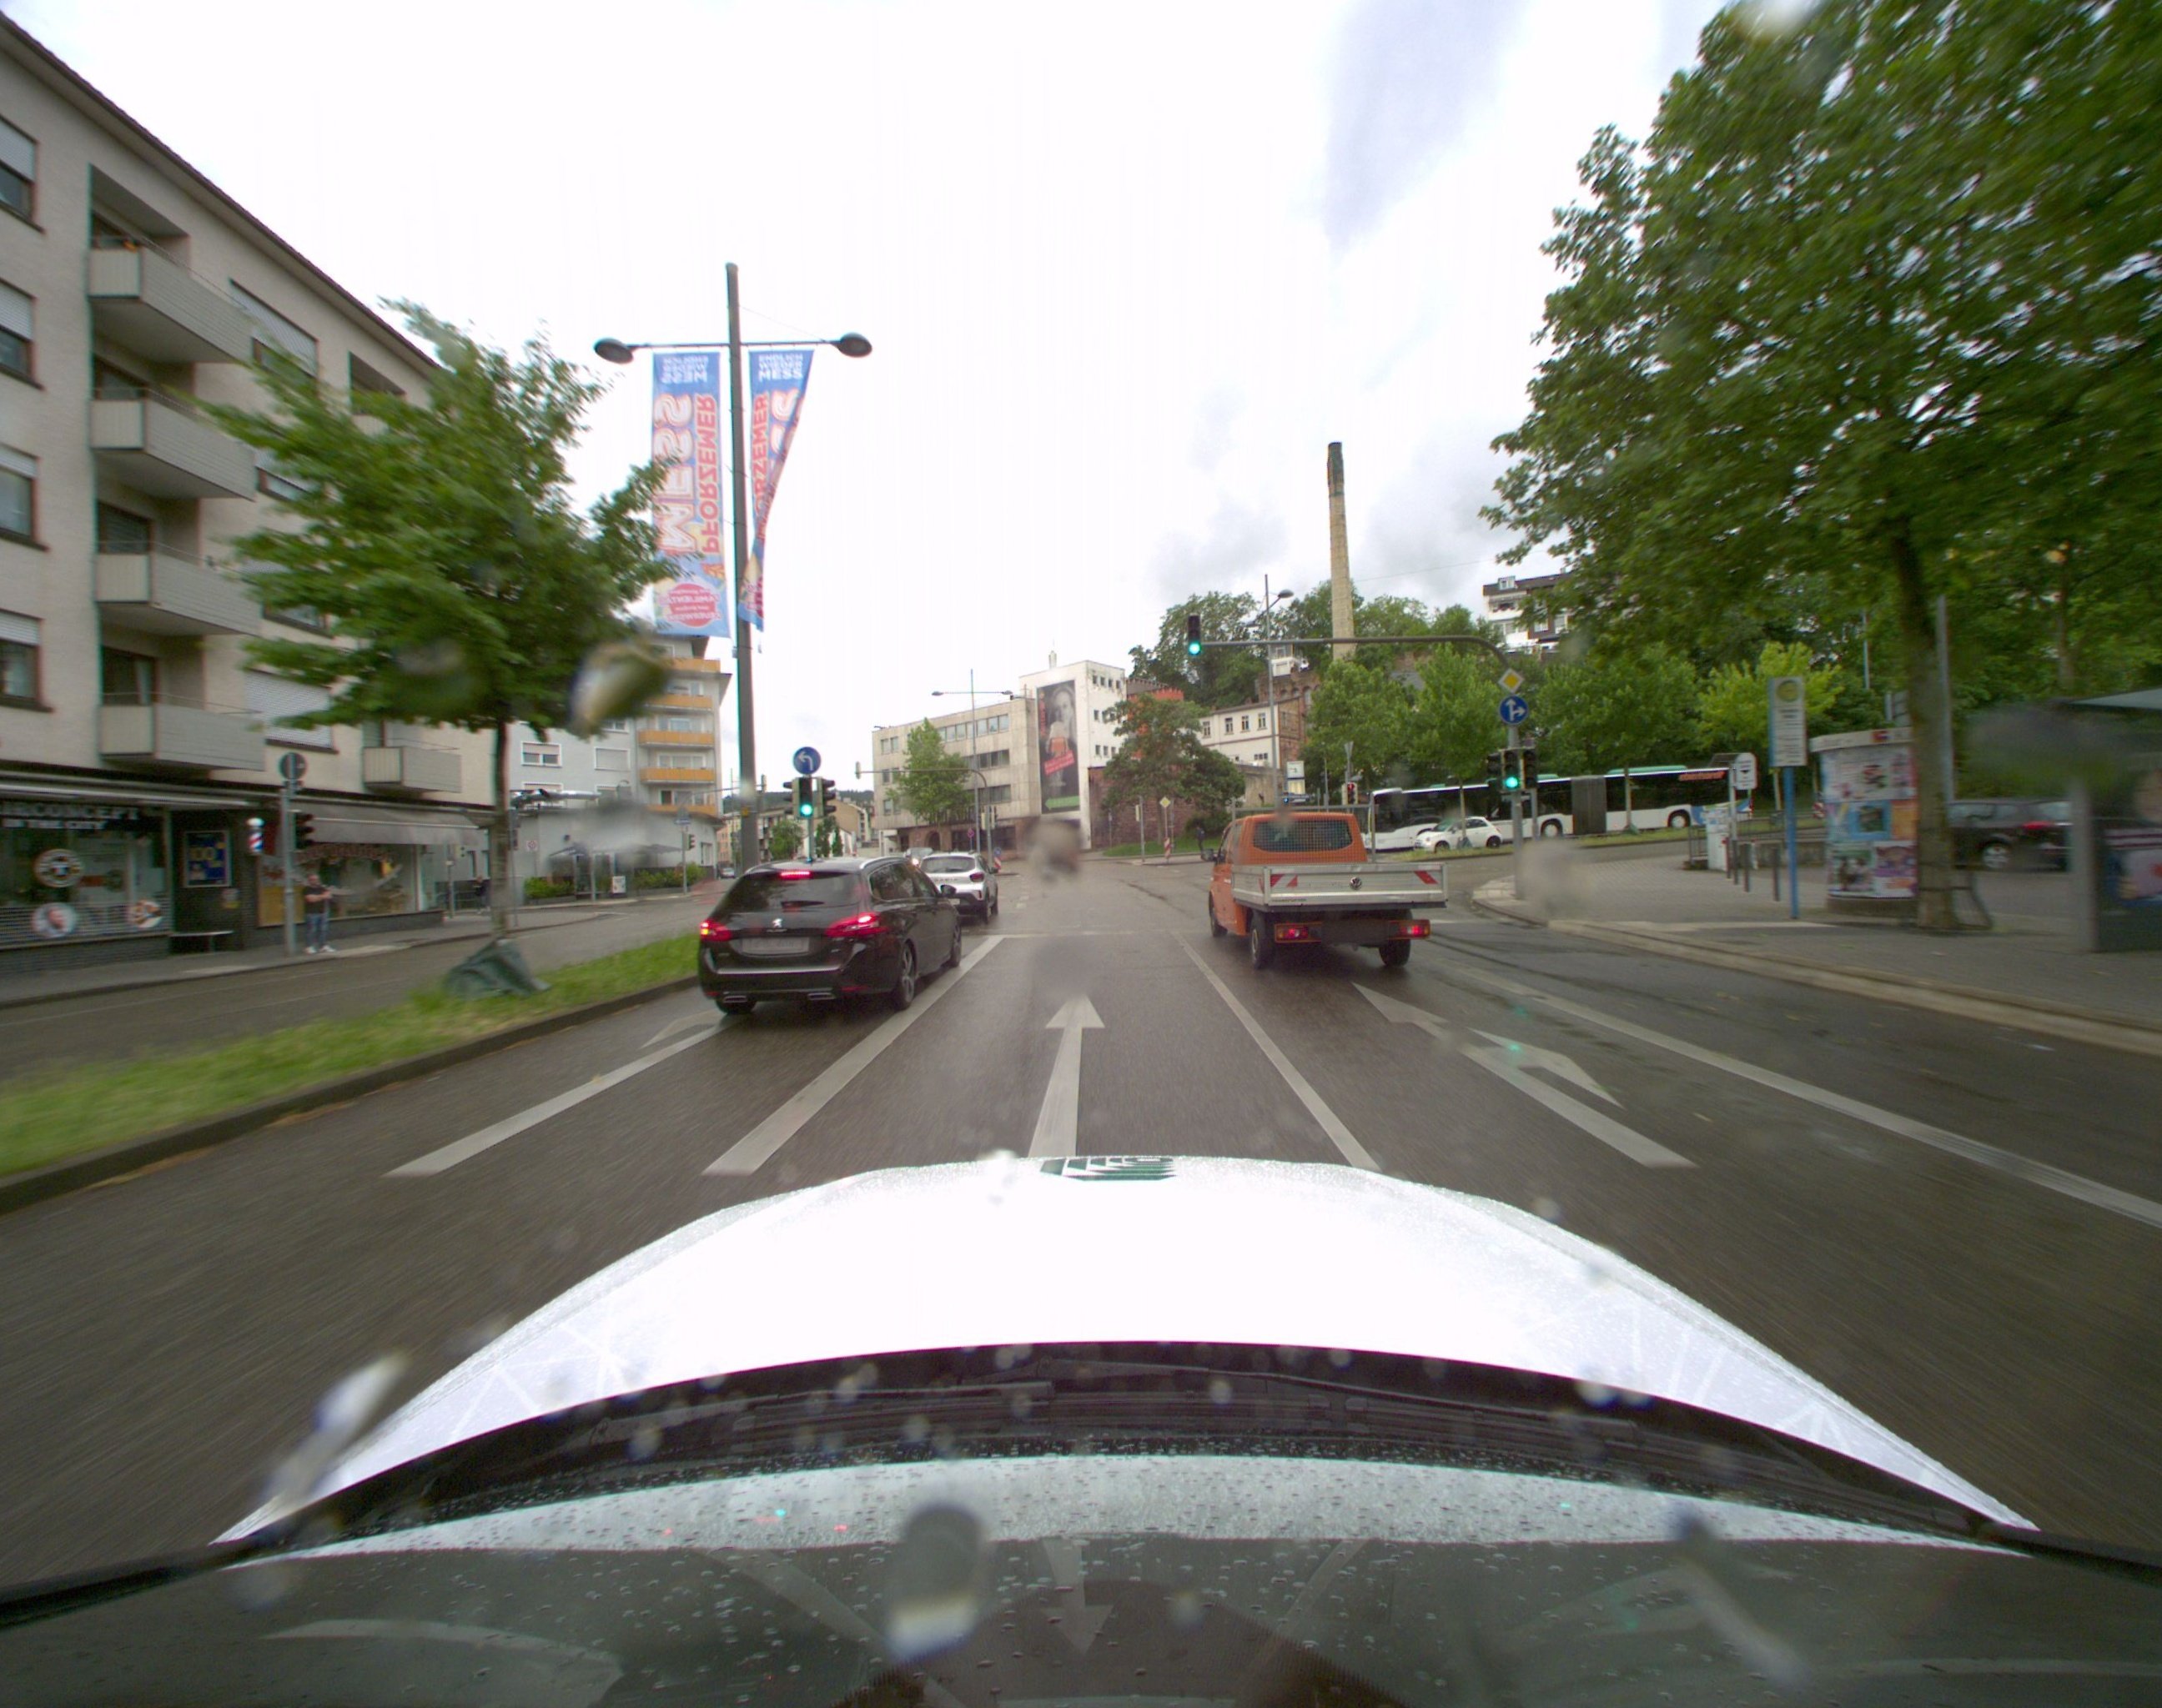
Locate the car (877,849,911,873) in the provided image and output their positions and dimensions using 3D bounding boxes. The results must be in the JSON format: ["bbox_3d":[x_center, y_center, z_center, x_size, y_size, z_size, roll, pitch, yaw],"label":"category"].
[{"bbox_3d":[-14.031,0.489,60.949,1.762,1.614,4.181,-4,1,-22],"label":"car"}]

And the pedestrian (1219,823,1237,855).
[{"bbox_3d":[8.572,-0.878,47.517,0.876,1.831,0.729,-2,0,2],"label":"pedestrian"}]

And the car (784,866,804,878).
[{"bbox_3d":[-39.824,2.477,112.891,1.676,1.396,3.827,-3,1,-32],"label":"car"}]

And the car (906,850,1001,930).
[{"bbox_3d":[-2.645,0.689,17.563,1.533,1.461,3.627,-3,1,-2],"label":"car"}]

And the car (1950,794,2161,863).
[{"bbox_3d":[23.740,-0.607,19.212,1.846,1.440,4.260,-3,1,-1],"label":"car"}]

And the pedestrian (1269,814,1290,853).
[{"bbox_3d":[10.658,-1.087,43.732,0.777,2.013,0.592,-3,2,37],"label":"pedestrian"}]

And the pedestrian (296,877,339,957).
[{"bbox_3d":[-17.078,1.401,18.222,0.450,1.730,0.524,1,1,1],"label":"pedestrian"}]

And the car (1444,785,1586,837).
[{"bbox_3d":[23.072,-2.252,43.631,6.271,2.234,2.266,-4,0,18],"label":"car"}]

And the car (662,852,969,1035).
[{"bbox_3d":[-2.460,0.738,8.824,1.793,1.434,4.397,-2,0,1],"label":"car"}]

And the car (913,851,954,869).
[{"bbox_3d":[-12.639,0.514,69.506,1.802,1.403,4.586,-3,0,-32],"label":"car"}]

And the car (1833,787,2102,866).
[{"bbox_3d":[21.142,-0.621,19.745,1.795,1.612,4.260,-3,1,-2],"label":"car"}]

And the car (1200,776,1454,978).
[{"bbox_3d":[3.008,0.255,11.416,2.093,2.089,5.545,-2,0,3],"label":"car"}]

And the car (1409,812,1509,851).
[{"bbox_3d":[16.219,-0.983,35.054,3.547,1.451,1.590,-3,2,-1],"label":"car"}]

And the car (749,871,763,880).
[{"bbox_3d":[-61.383,4.030,153.938,1.964,1.396,3.832,-3,1,-28],"label":"car"}]

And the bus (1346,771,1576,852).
[{"bbox_3d":[17.797,-1.977,38.487,9.597,3.216,2.705,-3,2,-1],"label":"bus"}]

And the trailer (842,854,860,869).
[{"bbox_3d":[-43.021,1.408,152.147,2.138,2.716,5.345,-5,1,-26],"label":"trailer"}]

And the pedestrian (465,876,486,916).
[{"bbox_3d":[-25.688,1.773,34.566,0.528,1.651,0.599,-1,-3,-18],"label":"pedestrian"}]

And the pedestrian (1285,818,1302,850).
[{"bbox_3d":[11.438,-1.074,43.905,0.559,1.705,0.524,-5,2,-26],"label":"pedestrian"}]

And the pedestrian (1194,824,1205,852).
[{"bbox_3d":[7.497,-1.010,51.512,0.593,1.781,0.658,-1,-1,11],"label":"pedestrian"}]

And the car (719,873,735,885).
[{"bbox_3d":[-45.670,3.255,105.032,1.738,1.366,4.074,-3,-1,-26],"label":"car"}]

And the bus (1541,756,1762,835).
[{"bbox_3d":[26.790,-2.717,38.487,8.501,3.179,2.689,-3,2,1],"label":"bus"}]

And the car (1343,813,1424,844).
[{"bbox_3d":[16.811,-1.406,45.387,4.050,1.374,1.804,-4,0,18],"label":"car"}]

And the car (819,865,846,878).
[{"bbox_3d":[-30.857,2.166,101.121,1.680,1.396,3.819,-3,1,-44],"label":"car"}]

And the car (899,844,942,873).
[{"bbox_3d":[-9.966,0.254,50.345,1.762,1.614,4.181,-4,1,-22],"label":"car"}]

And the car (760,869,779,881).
[{"bbox_3d":[-42.387,2.829,110.791,1.743,1.440,4.372,-4,0,-29],"label":"car"}]

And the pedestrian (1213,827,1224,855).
[{"bbox_3d":[8.004,-0.741,47.501,0.563,1.616,0.692,-1,-1,4],"label":"pedestrian"}]
